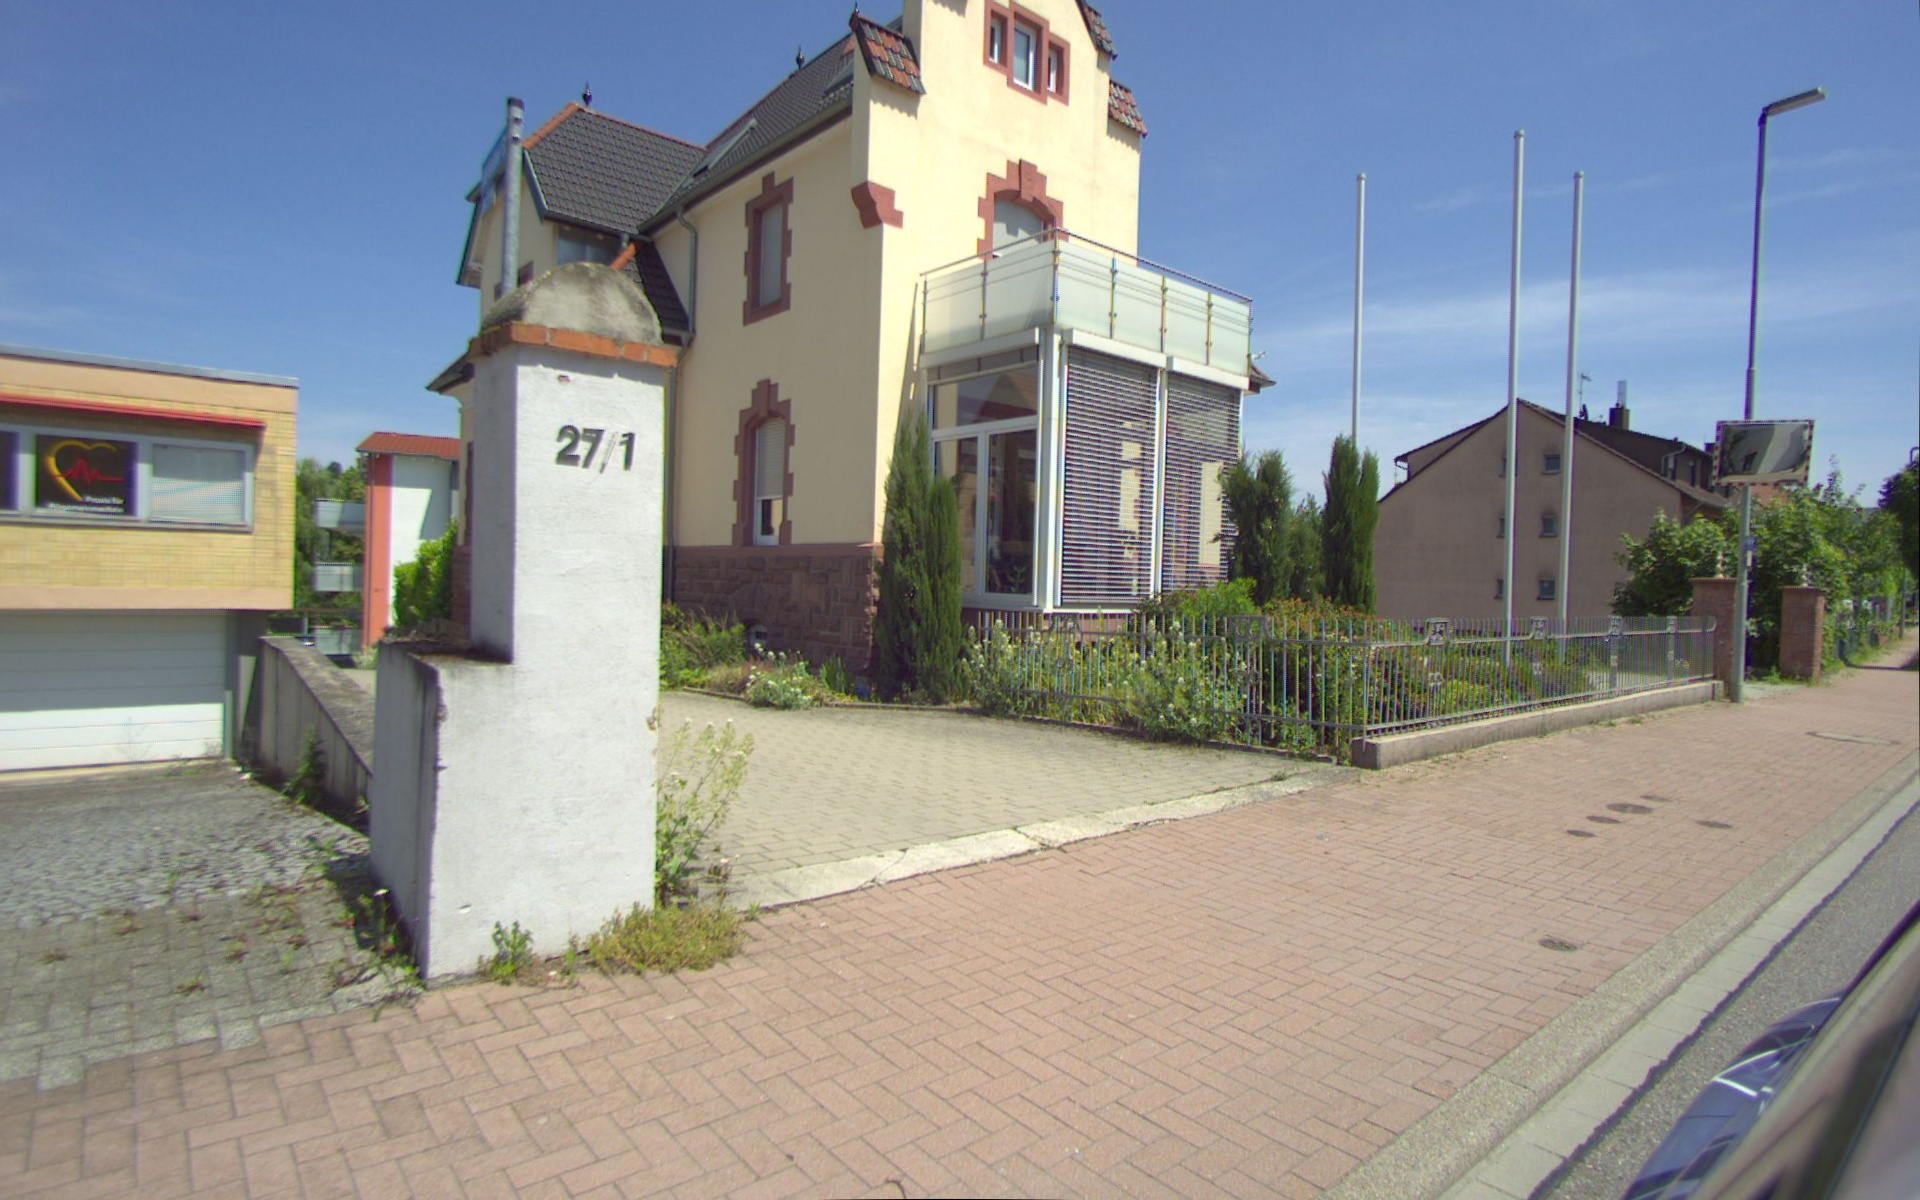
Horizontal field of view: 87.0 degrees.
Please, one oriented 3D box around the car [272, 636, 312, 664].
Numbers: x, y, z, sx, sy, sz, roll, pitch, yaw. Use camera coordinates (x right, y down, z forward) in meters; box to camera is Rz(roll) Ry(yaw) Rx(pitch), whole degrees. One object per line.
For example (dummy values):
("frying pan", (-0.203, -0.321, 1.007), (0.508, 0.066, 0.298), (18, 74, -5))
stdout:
("car", (-38.443, 2.827, 58.244), (1.873, 1.460, 3.928), (0, -1, -33))
